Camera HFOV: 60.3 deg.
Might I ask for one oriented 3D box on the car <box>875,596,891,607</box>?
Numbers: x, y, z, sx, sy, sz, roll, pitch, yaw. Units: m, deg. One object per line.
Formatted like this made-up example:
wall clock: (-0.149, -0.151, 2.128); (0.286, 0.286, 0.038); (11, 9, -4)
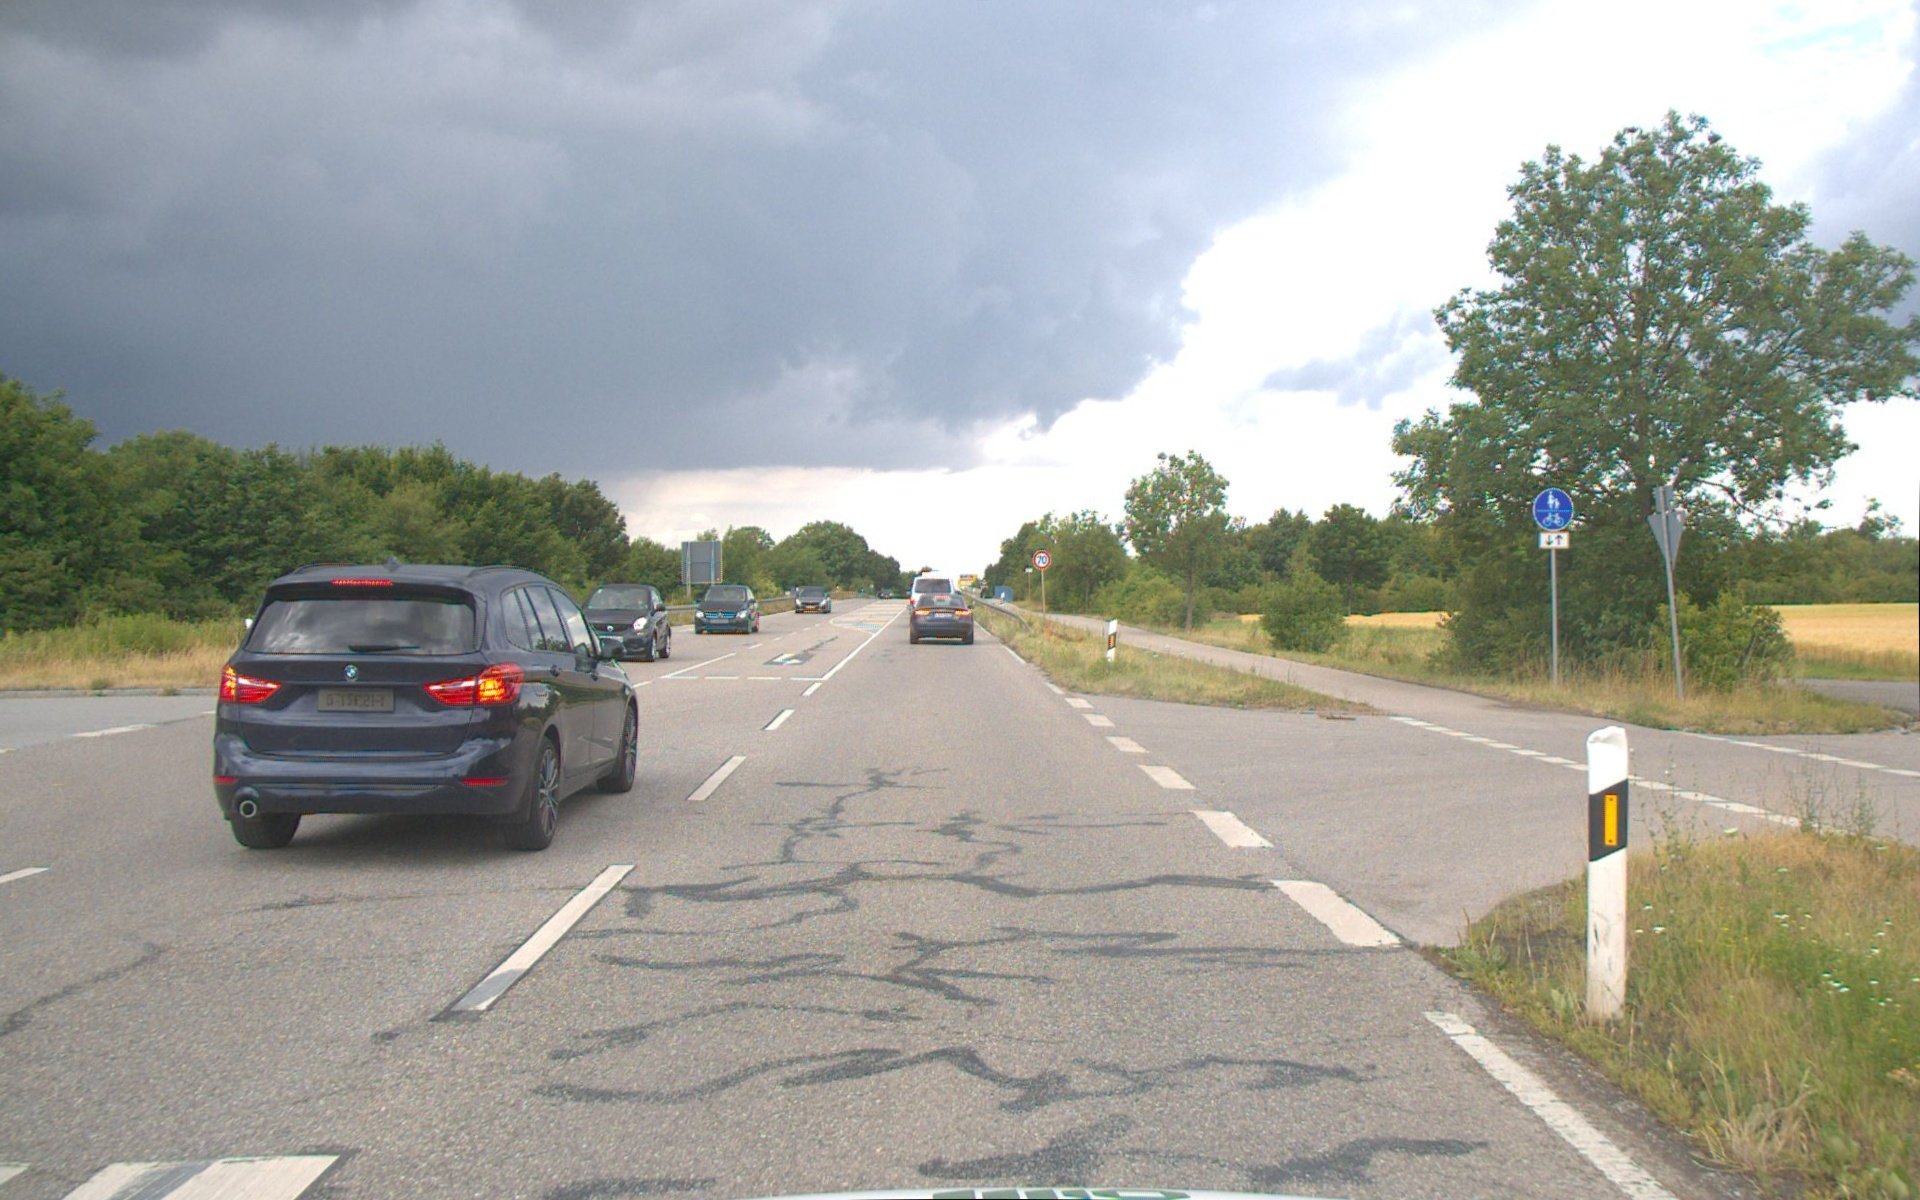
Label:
car: (-10.475, 0.154, 225.428); (1.824, 1.400, 4.001); (2, -1, 2)

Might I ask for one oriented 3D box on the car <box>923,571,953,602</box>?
car: (-1.848, -1.133, 139.800); (2.397, 2.548, 5.041); (1, 1, -1)

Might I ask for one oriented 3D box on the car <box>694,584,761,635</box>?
car: (-7.560, 0.285, 54.140); (1.707, 1.557, 4.197); (1, 0, -2)

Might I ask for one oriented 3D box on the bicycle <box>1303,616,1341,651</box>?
bicycle: (12.537, 1.148, 57.352); (0.642, 1.158, 2.829); (1, -1, -1)

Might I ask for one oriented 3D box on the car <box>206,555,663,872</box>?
car: (-3.162, 0.595, 10.932); (1.668, 1.639, 4.481); (1, 0, -2)

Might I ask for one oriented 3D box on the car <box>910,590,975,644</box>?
car: (-0.506, 0.473, 47.081); (1.749, 1.448, 3.999); (1, 0, -1)

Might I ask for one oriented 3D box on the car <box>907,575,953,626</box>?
car: (-1.184, 0.027, 65.500); (1.749, 1.923, 3.999); (1, 0, -1)

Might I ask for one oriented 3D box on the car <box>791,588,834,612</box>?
car: (-8.303, -0.018, 93.636); (2.120, 1.307, 4.236); (1, 1, -1)

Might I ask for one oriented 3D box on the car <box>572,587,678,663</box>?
car: (-6.932, 0.493, 34.490); (1.628, 1.509, 3.167); (0, 0, -2)

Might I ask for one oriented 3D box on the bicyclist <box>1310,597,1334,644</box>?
bicyclist: (12.547, 0.723, 57.292); (0.642, 1.608, 0.743); (1, -1, -2)
